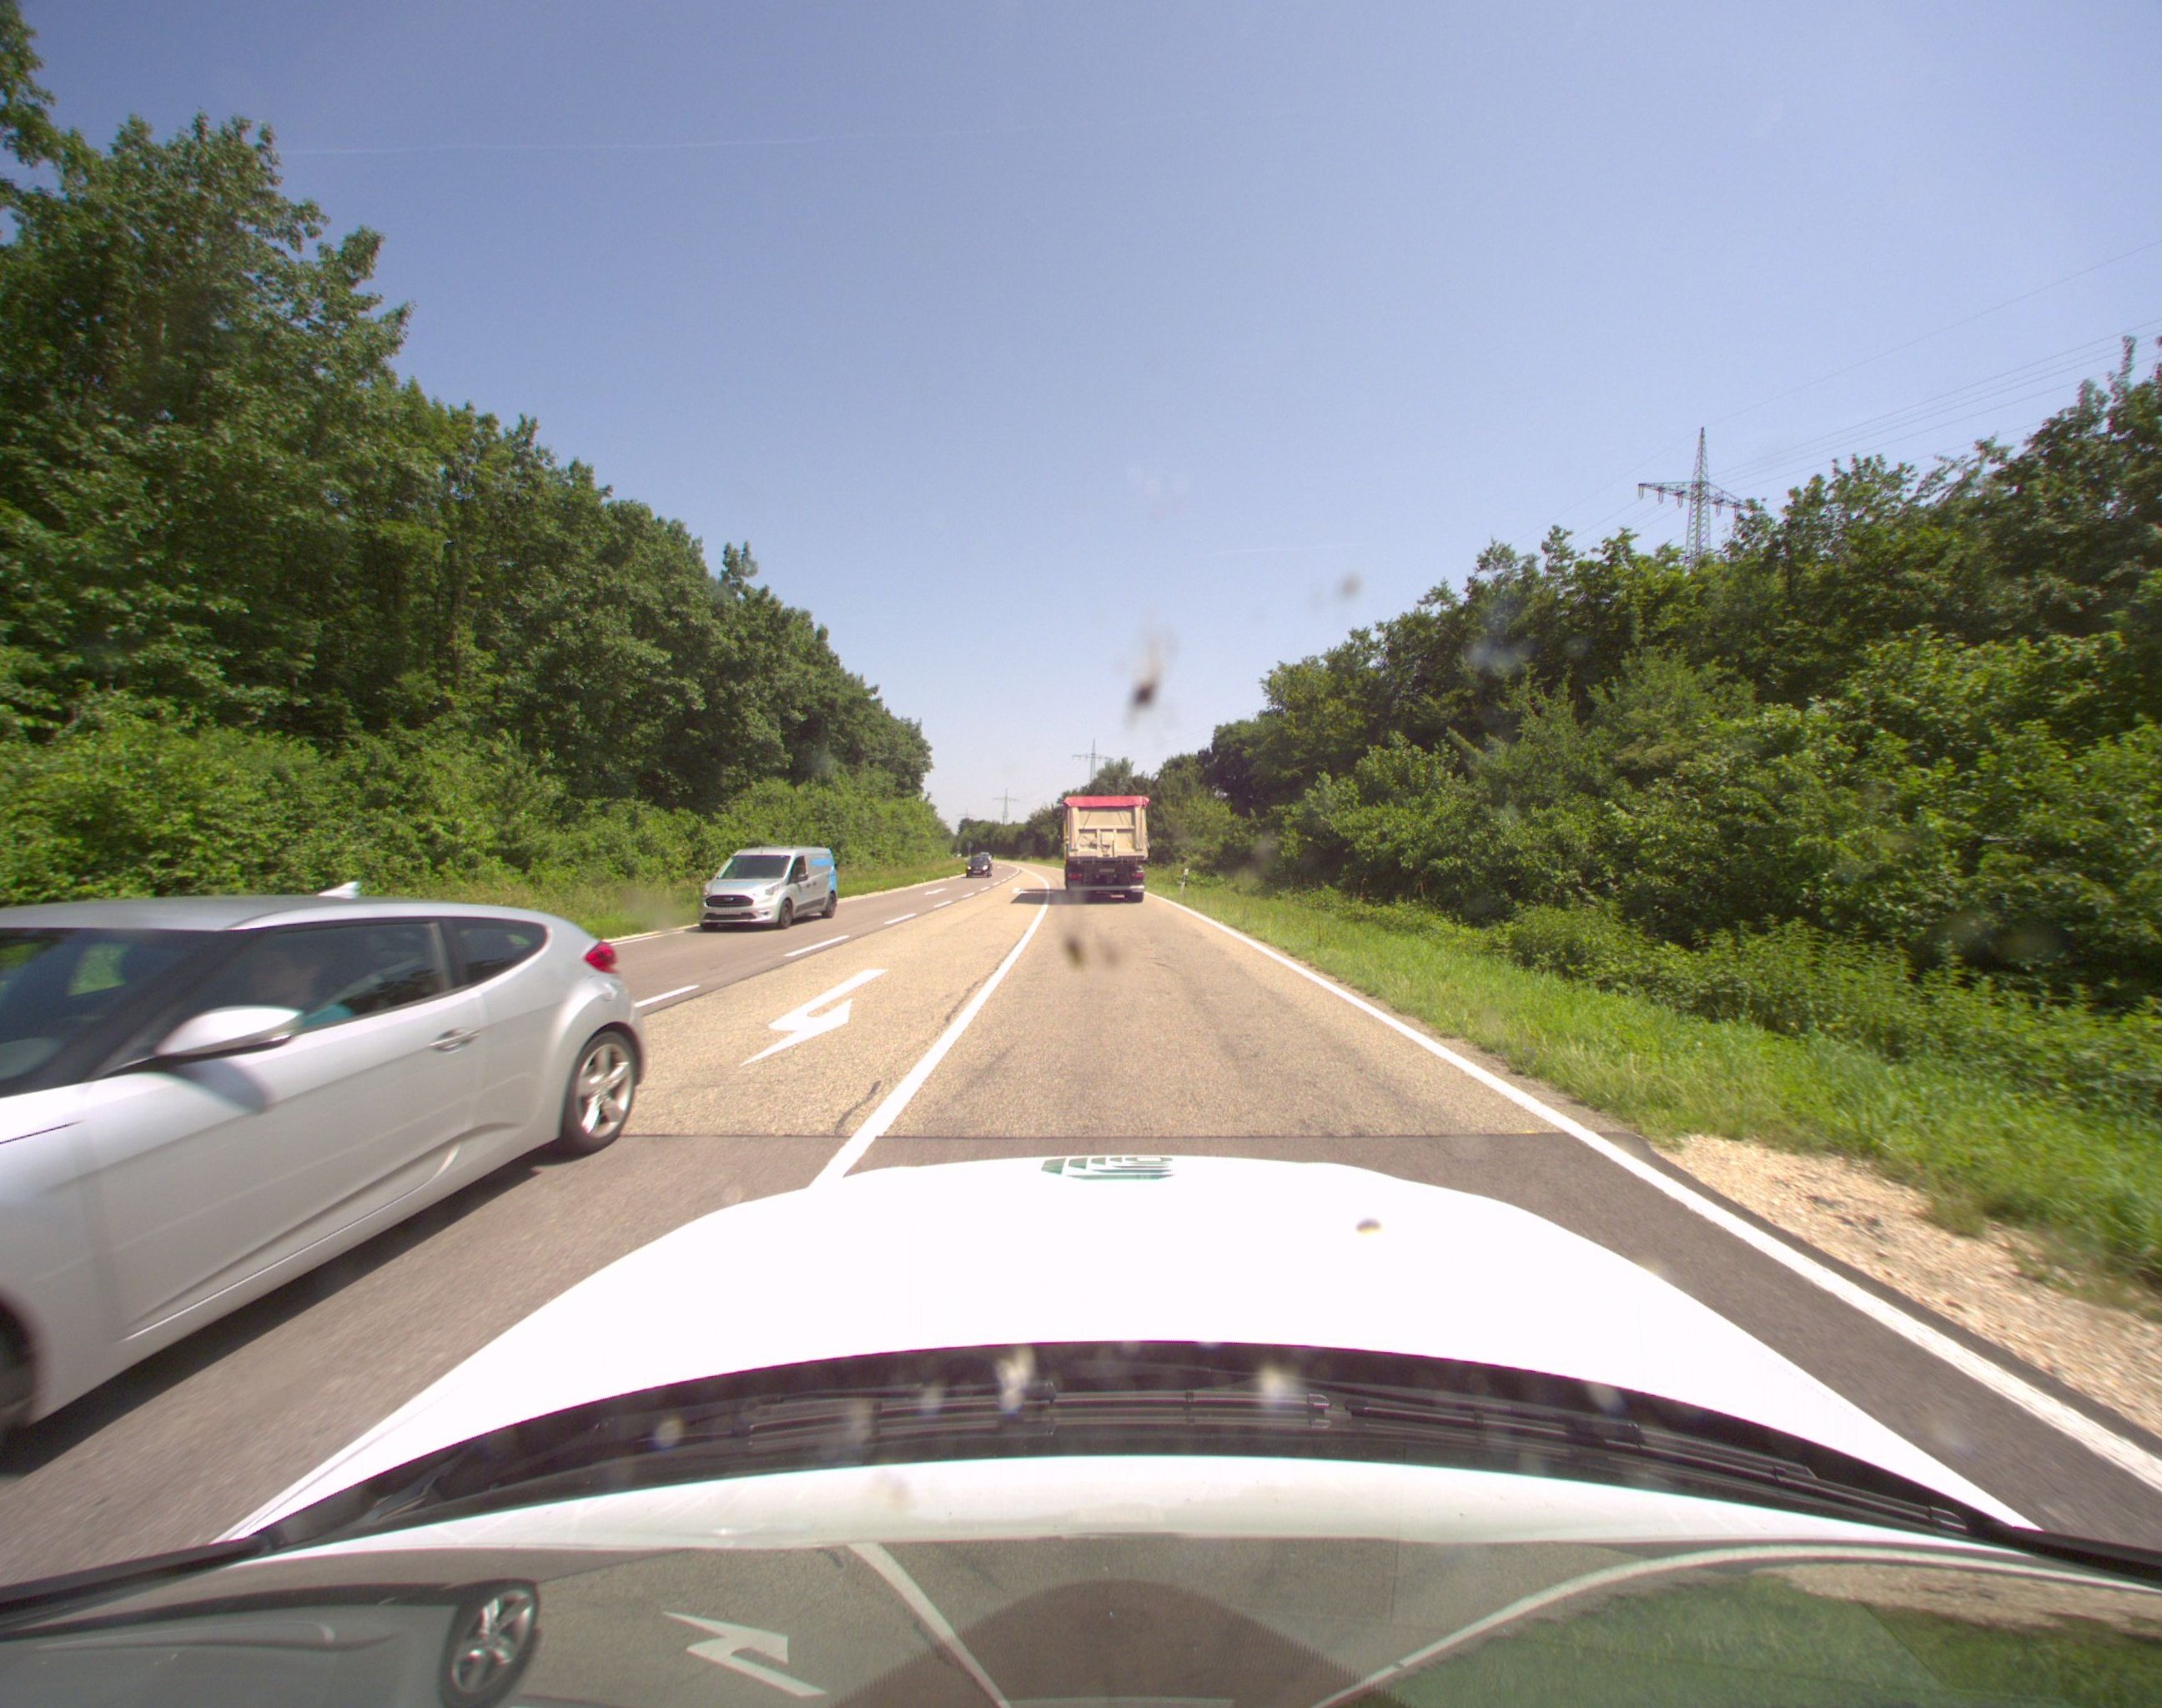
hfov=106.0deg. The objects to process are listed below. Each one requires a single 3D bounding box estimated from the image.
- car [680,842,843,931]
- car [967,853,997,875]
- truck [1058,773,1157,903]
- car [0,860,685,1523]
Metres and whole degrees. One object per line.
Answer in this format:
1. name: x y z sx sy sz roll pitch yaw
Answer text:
1. car: -7.107 0.637 18.746 1.837 1.779 4.892 0 0 -1
2. car: -6.873 0.685 56.753 1.609 1.502 3.551 0 0 0
3. truck: 0.653 -0.510 30.793 2.886 3.962 11.921 0 0 -2
4. car: -3.295 0.784 2.960 1.703 1.419 4.098 0 1 0
